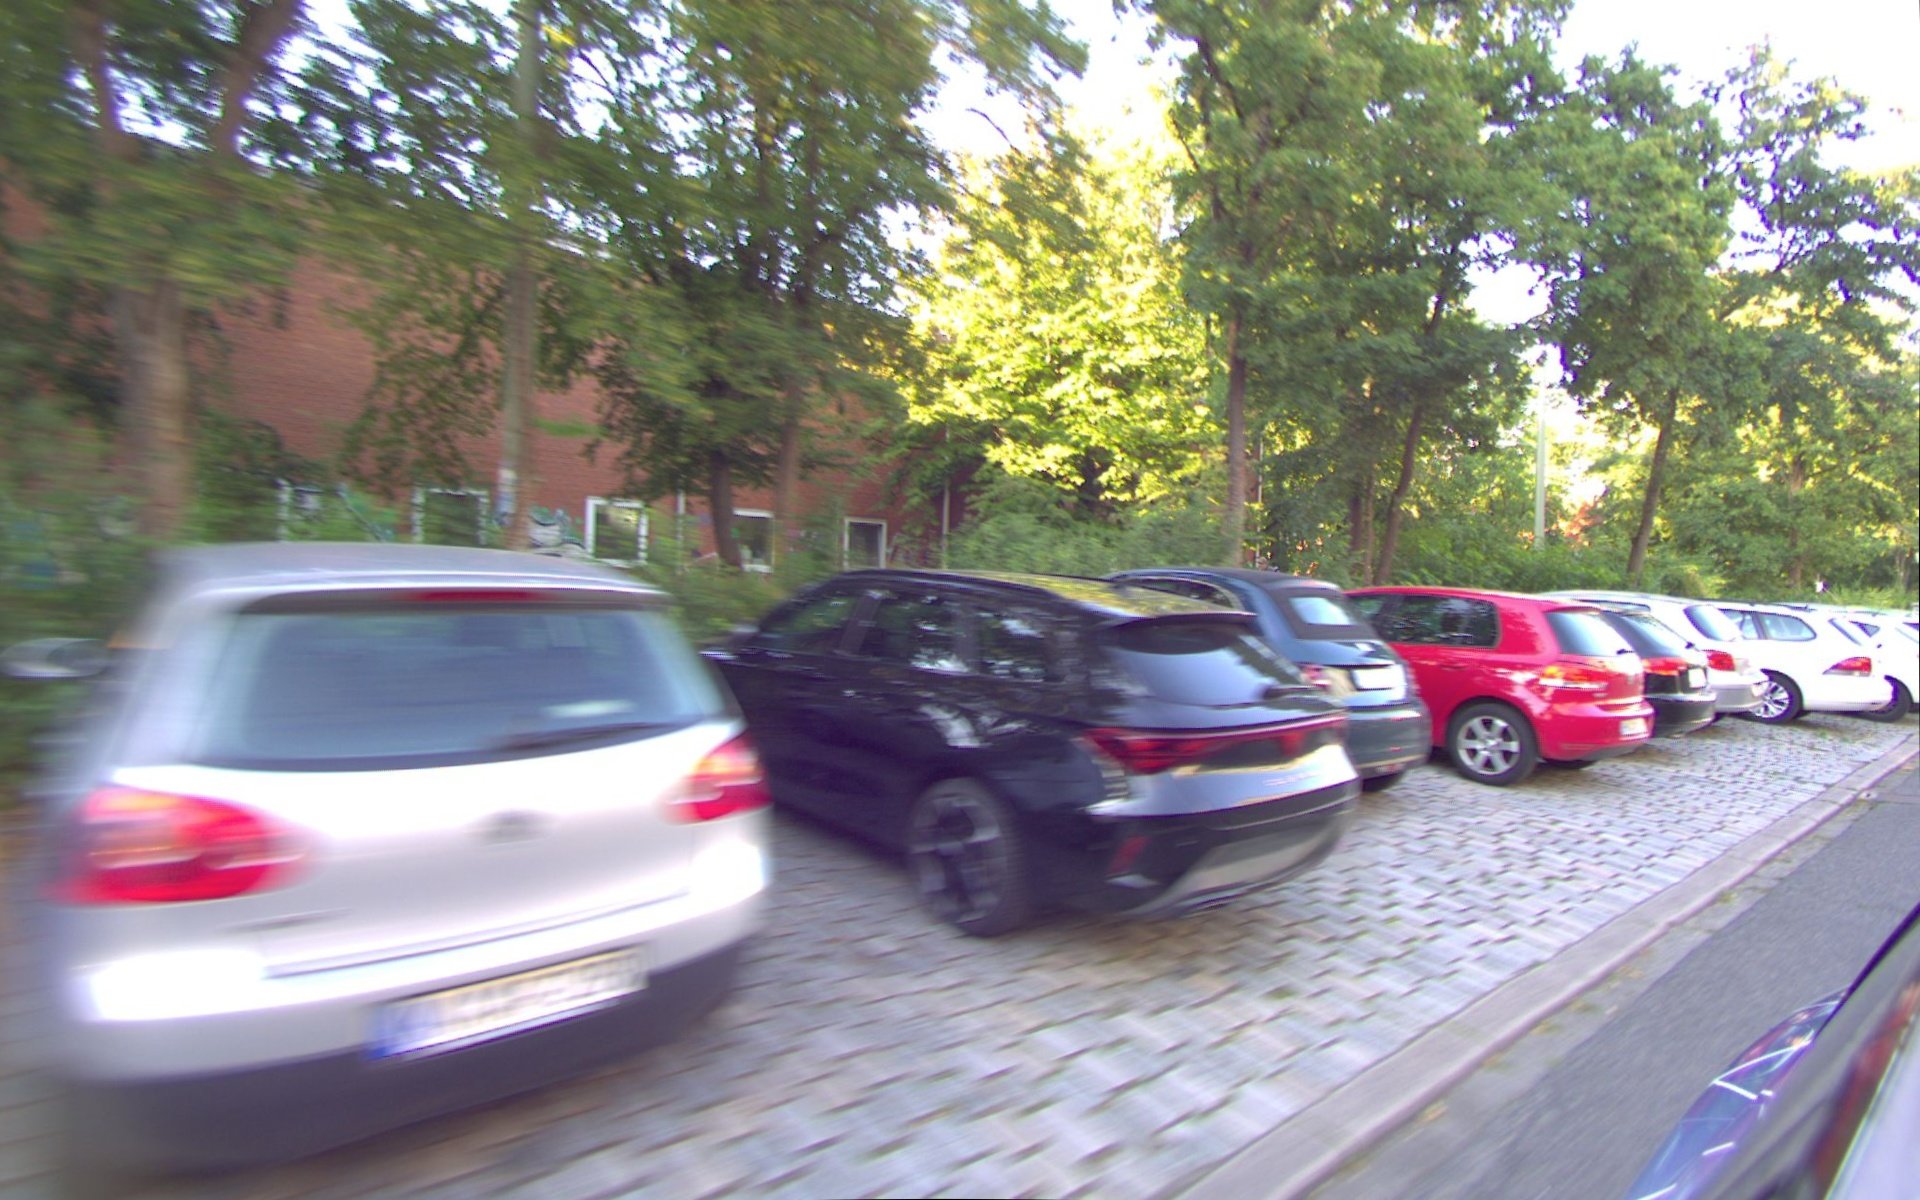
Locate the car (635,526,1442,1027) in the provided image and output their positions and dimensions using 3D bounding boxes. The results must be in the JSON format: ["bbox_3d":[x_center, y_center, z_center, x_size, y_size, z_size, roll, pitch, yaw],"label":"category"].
[{"bbox_3d":[0.033,0.460,5.374,1.800,1.492,4.129,0,4,-42],"label":"car"}]

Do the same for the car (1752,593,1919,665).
[{"bbox_3d":[22.010,0.673,24.676,1.709,1.530,3.957,1,2,-41],"label":"car"}]

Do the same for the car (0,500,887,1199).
[{"bbox_3d":[-2.149,0.449,3.666,1.799,1.471,3.936,1,4,-39],"label":"car"}]

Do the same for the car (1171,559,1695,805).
[{"bbox_3d":[3.999,0.509,9.082,1.725,1.492,3.818,0,5,-40],"label":"car"}]

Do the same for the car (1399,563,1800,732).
[{"bbox_3d":[7.712,0.440,12.486,1.788,1.516,3.736,0,5,-40],"label":"car"}]

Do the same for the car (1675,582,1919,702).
[{"bbox_3d":[14.124,0.640,16.539,1.643,1.543,3.618,1,5,-42],"label":"car"}]

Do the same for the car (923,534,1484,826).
[{"bbox_3d":[1.601,0.367,7.769,1.799,1.492,3.820,1,5,-39],"label":"car"}]

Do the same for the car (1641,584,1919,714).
[{"bbox_3d":[12.496,0.661,14.938,1.705,1.462,3.674,1,5,-42],"label":"car"}]

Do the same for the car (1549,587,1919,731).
[{"bbox_3d":[10.182,0.662,13.489,1.705,1.572,3.672,1,1,-42],"label":"car"}]

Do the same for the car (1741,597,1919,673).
[{"bbox_3d":[20.223,0.752,23.011,1.642,1.559,3.634,0,1,-40],"label":"car"}]

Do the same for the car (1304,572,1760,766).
[{"bbox_3d":[5.840,0.552,10.695,1.725,1.411,3.760,0,5,-40],"label":"car"}]

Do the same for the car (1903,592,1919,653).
[{"bbox_3d":[30.245,0.695,30.753,1.919,1.770,4.600,3,2,39],"label":"car"}]

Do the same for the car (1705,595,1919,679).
[{"bbox_3d":[18.215,0.723,21.620,1.642,1.544,3.392,1,1,-40],"label":"car"}]
